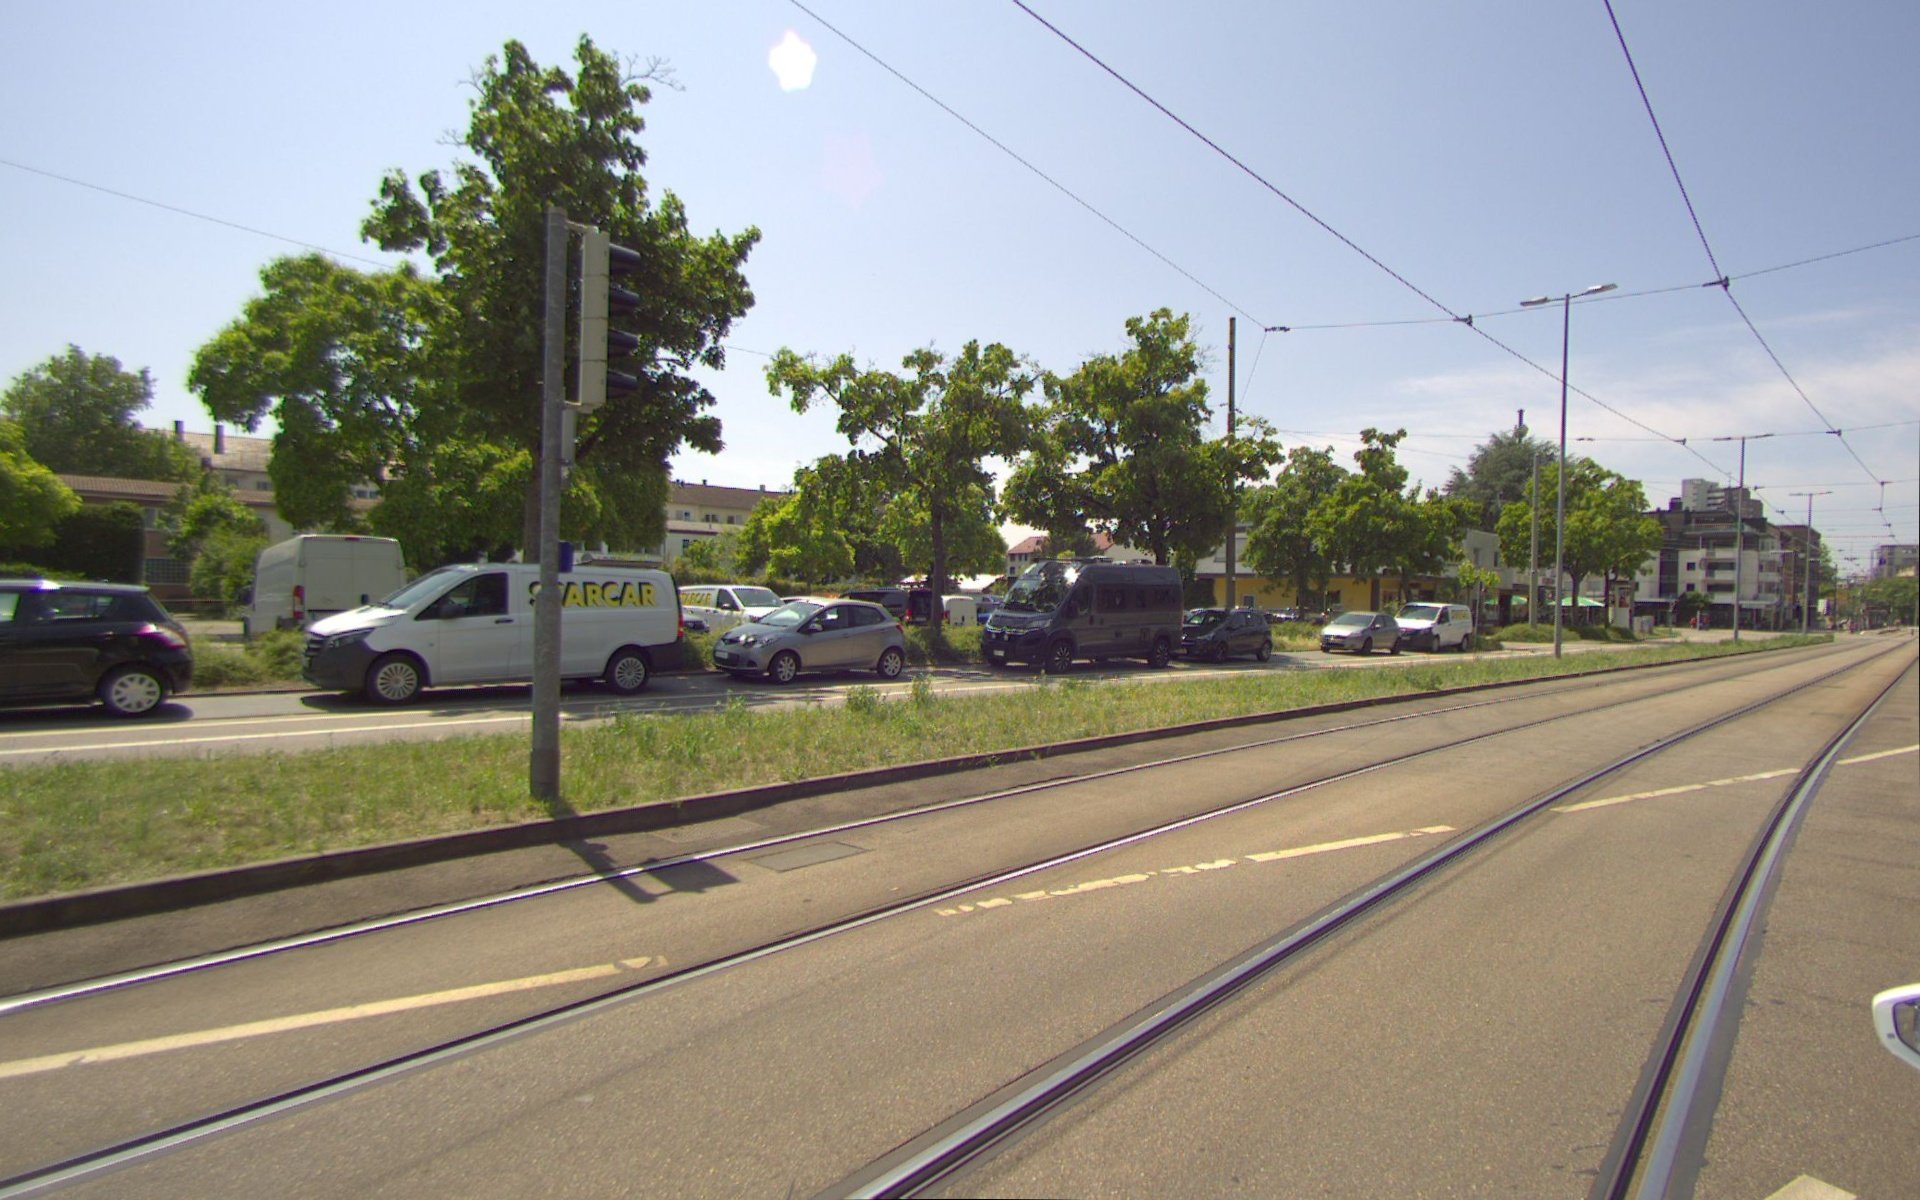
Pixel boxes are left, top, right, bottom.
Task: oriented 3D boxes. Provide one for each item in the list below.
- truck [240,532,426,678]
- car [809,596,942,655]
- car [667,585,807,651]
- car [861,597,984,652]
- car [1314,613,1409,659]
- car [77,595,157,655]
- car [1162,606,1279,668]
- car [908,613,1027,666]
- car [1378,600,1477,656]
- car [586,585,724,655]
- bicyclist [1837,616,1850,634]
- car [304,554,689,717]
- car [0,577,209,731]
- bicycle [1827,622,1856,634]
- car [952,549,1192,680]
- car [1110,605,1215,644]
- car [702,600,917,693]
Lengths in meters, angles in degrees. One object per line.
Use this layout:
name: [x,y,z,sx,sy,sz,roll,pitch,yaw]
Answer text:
truck: [-13.843,0.089,22.011,2.415,2.796,5.524,1,0,-43]
car: [-2.879,0.788,33.498,4.668,1.838,1.786,1,0,44]
car: [-6.700,0.490,29.880,4.668,1.838,1.786,1,0,44]
car: [-1.429,0.832,36.528,1.785,1.838,4.671,1,0,-44]
car: [14.349,1.252,35.812,3.839,1.439,1.616,1,2,-43]
car: [-24.666,0.678,29.335,1.499,1.539,4.086,1,1,-44]
car: [7.465,1.008,28.599,1.298,1.543,3.998,6,4,45]
car: [0.212,1.461,38.416,1.785,1.838,4.671,1,0,-44]
car: [18.898,1.089,40.468,1.856,1.992,5.131,6,4,45]
car: [-8.470,0.501,27.715,4.165,1.789,1.845,1,0,44]
bicyclist: [105.233,2.996,119.635,0.943,2.119,0.850,1,0,33]
car: [-6.630,0.446,14.736,4.771,1.963,1.845,1,3,-43]
car: [-10.583,0.548,10.893,3.758,1.504,1.599,1,3,-43]
bicycle: [105.082,3.334,119.726,2.474,1.438,0.636,0,0,33]
car: [2.864,0.302,24.297,2.373,2.692,6.134,6,4,44]
car: [8.998,1.046,44.922,4.333,1.624,1.786,1,0,44]
car: [-2.698,0.795,18.608,1.391,1.459,3.815,6,4,45]
